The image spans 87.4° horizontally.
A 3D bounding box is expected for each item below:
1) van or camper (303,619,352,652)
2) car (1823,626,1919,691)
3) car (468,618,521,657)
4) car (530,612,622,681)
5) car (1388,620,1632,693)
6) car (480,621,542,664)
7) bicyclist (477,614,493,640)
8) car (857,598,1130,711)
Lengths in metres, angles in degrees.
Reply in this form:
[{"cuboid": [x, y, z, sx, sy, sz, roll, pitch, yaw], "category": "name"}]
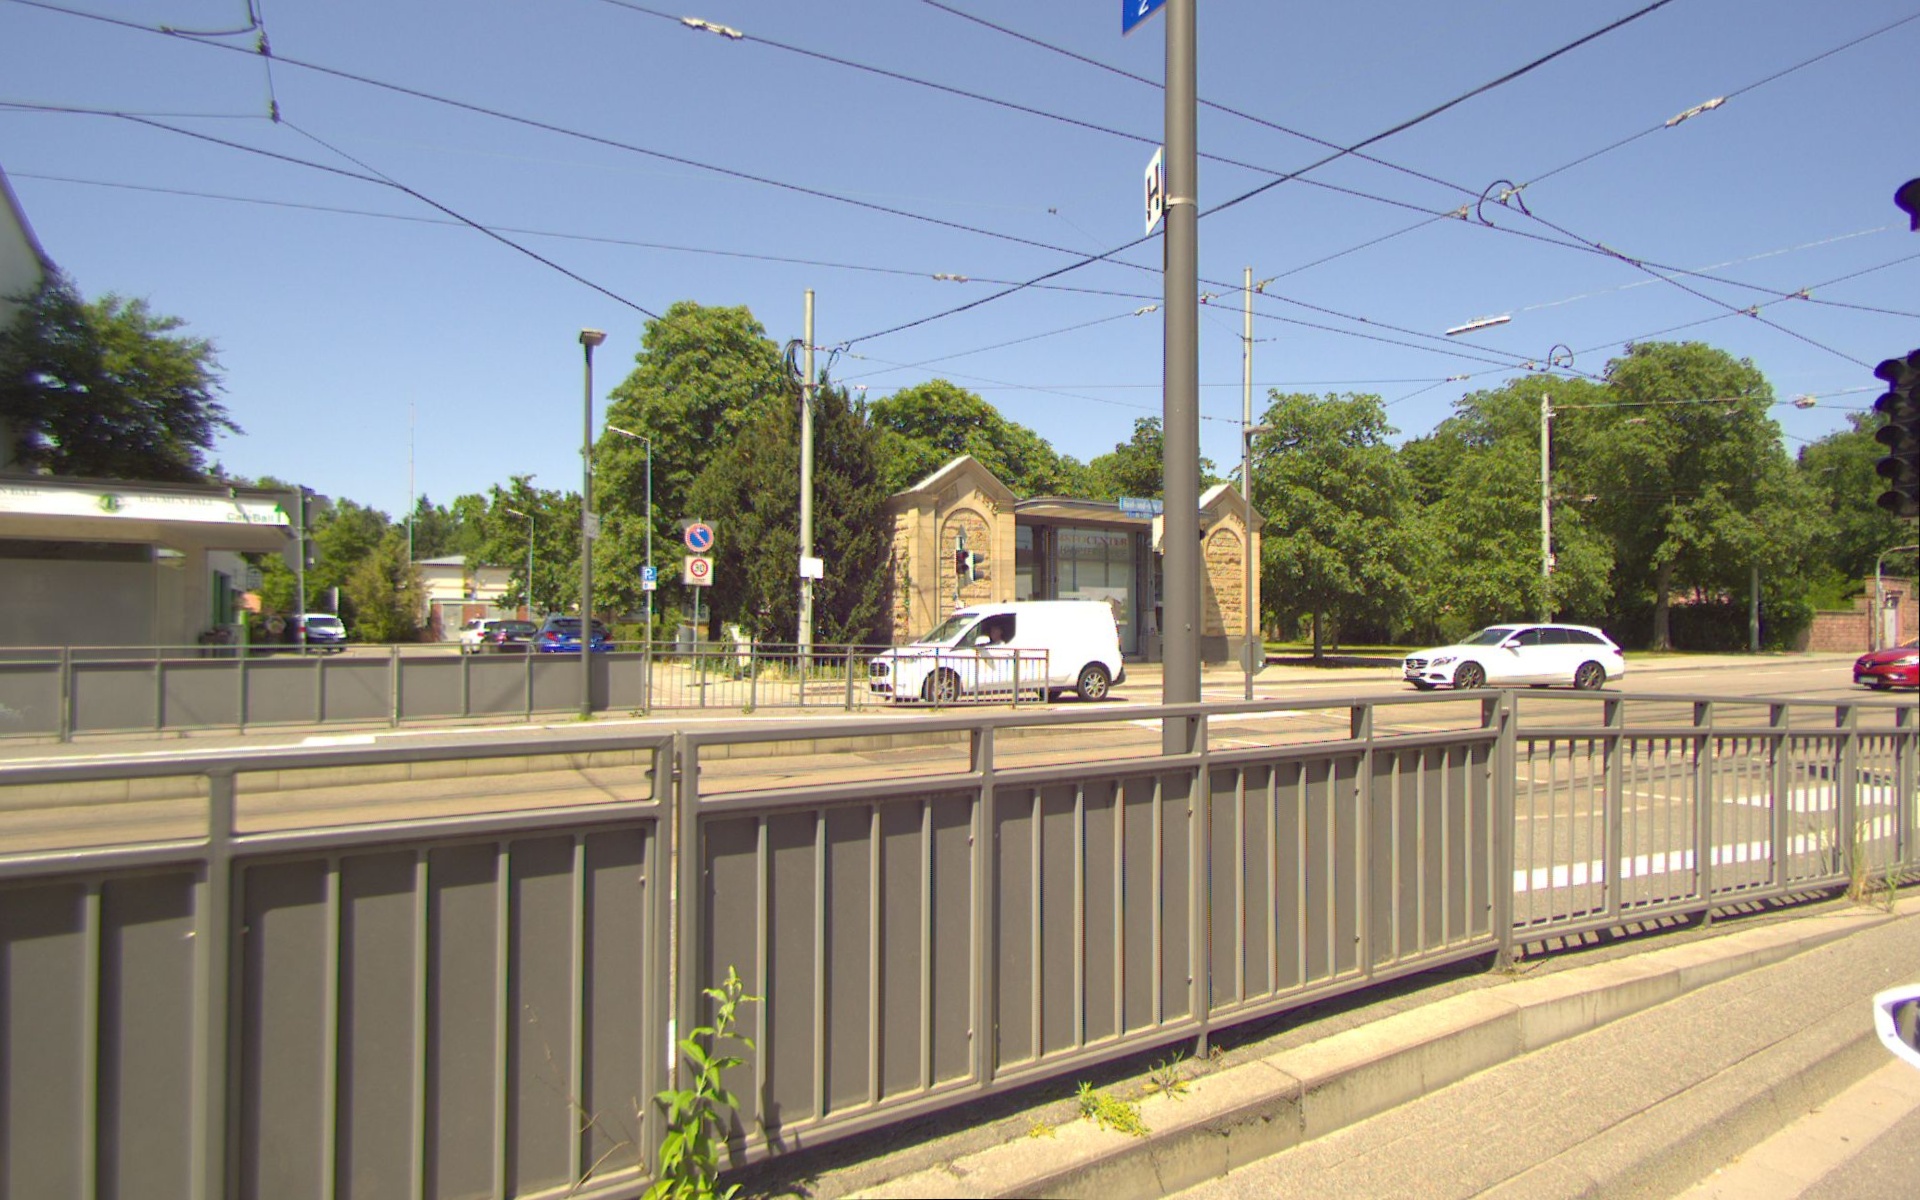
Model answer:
[{"cuboid": [-31.633, 1.752, 50.215, 1.676, 1.587, 3.785, 1, -1, -38], "category": "van or camper"}, {"cuboid": [22.590, 1.315, 22.899, 4.090, 1.414, 1.825, 0, -1, 6], "category": "car"}, {"cuboid": [-18.380, 1.473, 39.593, 1.625, 1.465, 3.784, 1, -3, -29], "category": "car"}, {"cuboid": [-9.666, 1.100, 25.150, 1.800, 1.472, 3.932, 1, 1, -26], "category": "car"}, {"cuboid": [12.109, 1.208, 22.246, 4.537, 1.487, 1.822, 0, 0, -7], "category": "car"}, {"cuboid": [-15.290, 1.439, 34.143, 1.624, 1.388, 3.785, 1, -3, -29], "category": "car"}, {"cuboid": [-27.085, 1.540, 57.280, 0.522, 1.454, 0.619, -1, -1, 42], "category": "bicyclist"}, {"cuboid": [0.630, 0.947, 18.206, 4.635, 1.840, 1.850, 1, -2, -25], "category": "car"}]
